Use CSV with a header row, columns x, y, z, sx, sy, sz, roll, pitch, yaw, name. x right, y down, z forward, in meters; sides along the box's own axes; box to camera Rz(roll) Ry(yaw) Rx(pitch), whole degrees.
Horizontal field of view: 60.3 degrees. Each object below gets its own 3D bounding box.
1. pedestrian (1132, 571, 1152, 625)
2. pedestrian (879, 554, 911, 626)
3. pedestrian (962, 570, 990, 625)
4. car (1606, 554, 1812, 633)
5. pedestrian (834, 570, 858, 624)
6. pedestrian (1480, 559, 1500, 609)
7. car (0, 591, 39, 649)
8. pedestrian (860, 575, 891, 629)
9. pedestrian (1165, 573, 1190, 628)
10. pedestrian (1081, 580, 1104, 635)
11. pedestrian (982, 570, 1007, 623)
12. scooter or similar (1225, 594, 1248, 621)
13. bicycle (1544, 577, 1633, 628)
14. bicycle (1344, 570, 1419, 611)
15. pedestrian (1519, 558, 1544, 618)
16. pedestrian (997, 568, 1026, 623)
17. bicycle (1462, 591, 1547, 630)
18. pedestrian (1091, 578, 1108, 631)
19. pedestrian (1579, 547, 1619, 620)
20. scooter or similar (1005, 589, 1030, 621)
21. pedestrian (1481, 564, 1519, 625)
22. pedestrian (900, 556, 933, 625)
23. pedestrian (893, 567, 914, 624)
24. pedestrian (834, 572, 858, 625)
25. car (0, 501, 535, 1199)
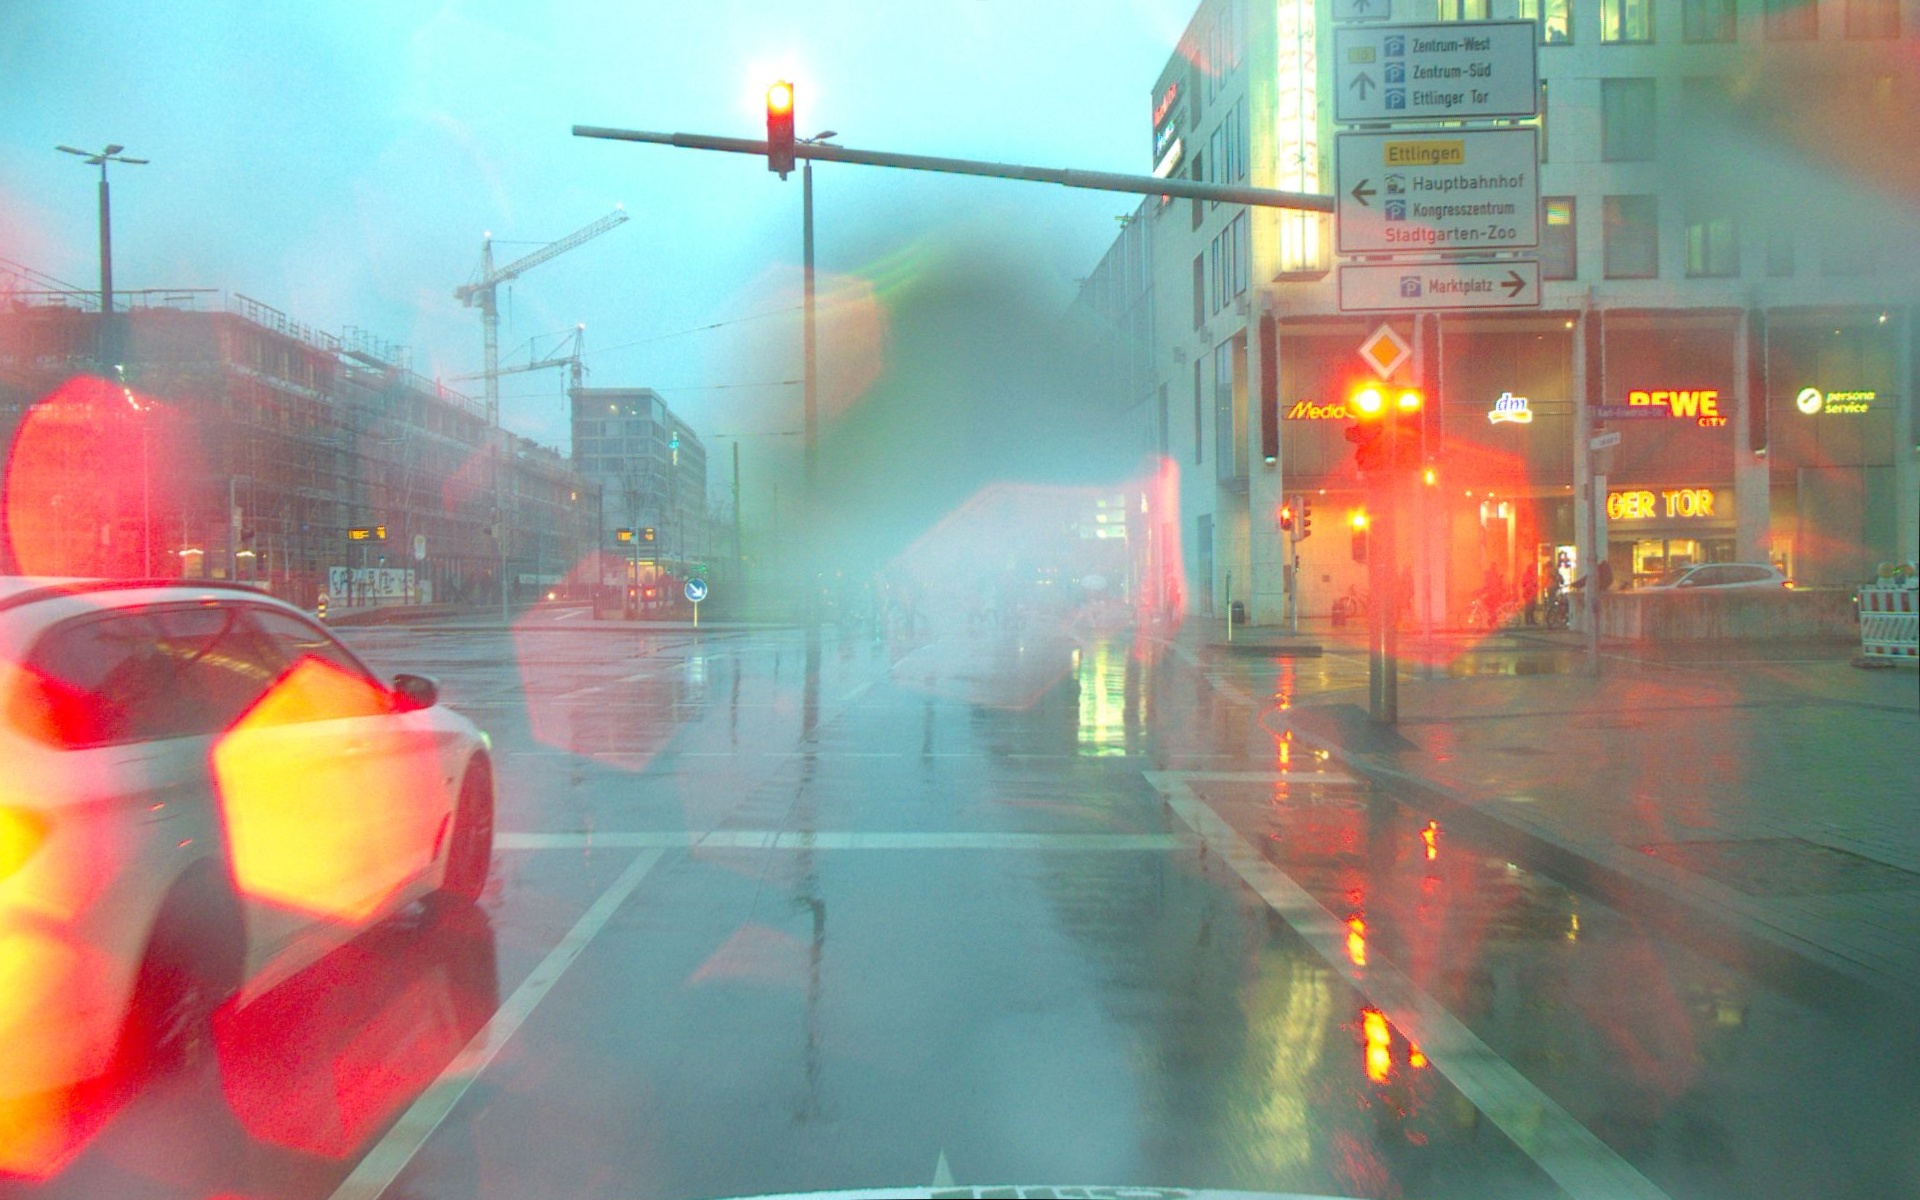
x,y,z,sx,sy,sz,roll,pitch,yaw,name
6.120,-0.077,55.543,0.605,1.791,0.482,-1,0,0,pedestrian
-1.939,-0.299,49.277,0.681,2.124,0.604,-1,0,-40,pedestrian
0.504,-0.077,51.879,0.814,1.709,0.619,-1,0,-2,pedestrian
18.063,-0.162,40.009,4.213,1.792,1.708,-1,1,3,car
-3.477,-0.087,50.672,0.692,1.647,0.613,-1,0,-3,pedestrian
18.804,-0.570,58.698,0.526,1.747,0.500,-1,0,37,pedestrian
-35.118,0.703,60.532,1.729,2.049,3.979,-1,1,-18,car
-2.598,0.054,50.918,0.802,1.647,0.537,-1,0,38,pedestrian
7.168,0.008,54.553,0.688,1.791,0.652,-1,0,0,pedestrian
4.307,0.241,53.783,0.688,1.791,0.667,-1,0,0,pedestrian
1.135,-0.115,53.666,0.725,1.696,0.401,-1,0,12,pedestrian
9.518,0.262,57.028,0.726,0.932,0.400,-1,0,1,scooter or similar
14.192,0.047,37.389,1.806,1.112,0.618,-1,0,15,bicycle
14.222,-0.336,55.815,2.378,1.352,0.634,-1,1,-5,bicycle
16.496,-0.341,47.749,0.526,1.714,0.547,-1,0,37,pedestrian
1.651,-0.140,52.904,0.827,1.718,0.676,-1,0,-7,pedestrian
14.419,0.276,43.832,2.086,1.009,0.541,1,0,-3,bicycle
4.707,0.154,55.782,0.501,1.791,0.374,-1,0,0,pedestrian
14.418,-0.370,37.327,0.764,1.623,0.613,-1,0,15,pedestrian
1.854,0.151,53.518,0.725,1.010,0.401,-1,0,12,scooter or similar
14.299,-0.150,43.821,0.798,1.597,0.536,-1,0,-4,pedestrian
-1.320,-0.292,50.295,0.770,2.049,0.604,-1,0,-38,pedestrian
-1.806,-0.149,52.441,0.607,1.776,0.612,-1,0,-5,pedestrian
-3.591,-0.043,52.134,0.692,1.647,0.680,-1,0,1,pedestrian
-3.001,0.558,5.725,1.871,1.547,4.922,-1,1,-1,car
